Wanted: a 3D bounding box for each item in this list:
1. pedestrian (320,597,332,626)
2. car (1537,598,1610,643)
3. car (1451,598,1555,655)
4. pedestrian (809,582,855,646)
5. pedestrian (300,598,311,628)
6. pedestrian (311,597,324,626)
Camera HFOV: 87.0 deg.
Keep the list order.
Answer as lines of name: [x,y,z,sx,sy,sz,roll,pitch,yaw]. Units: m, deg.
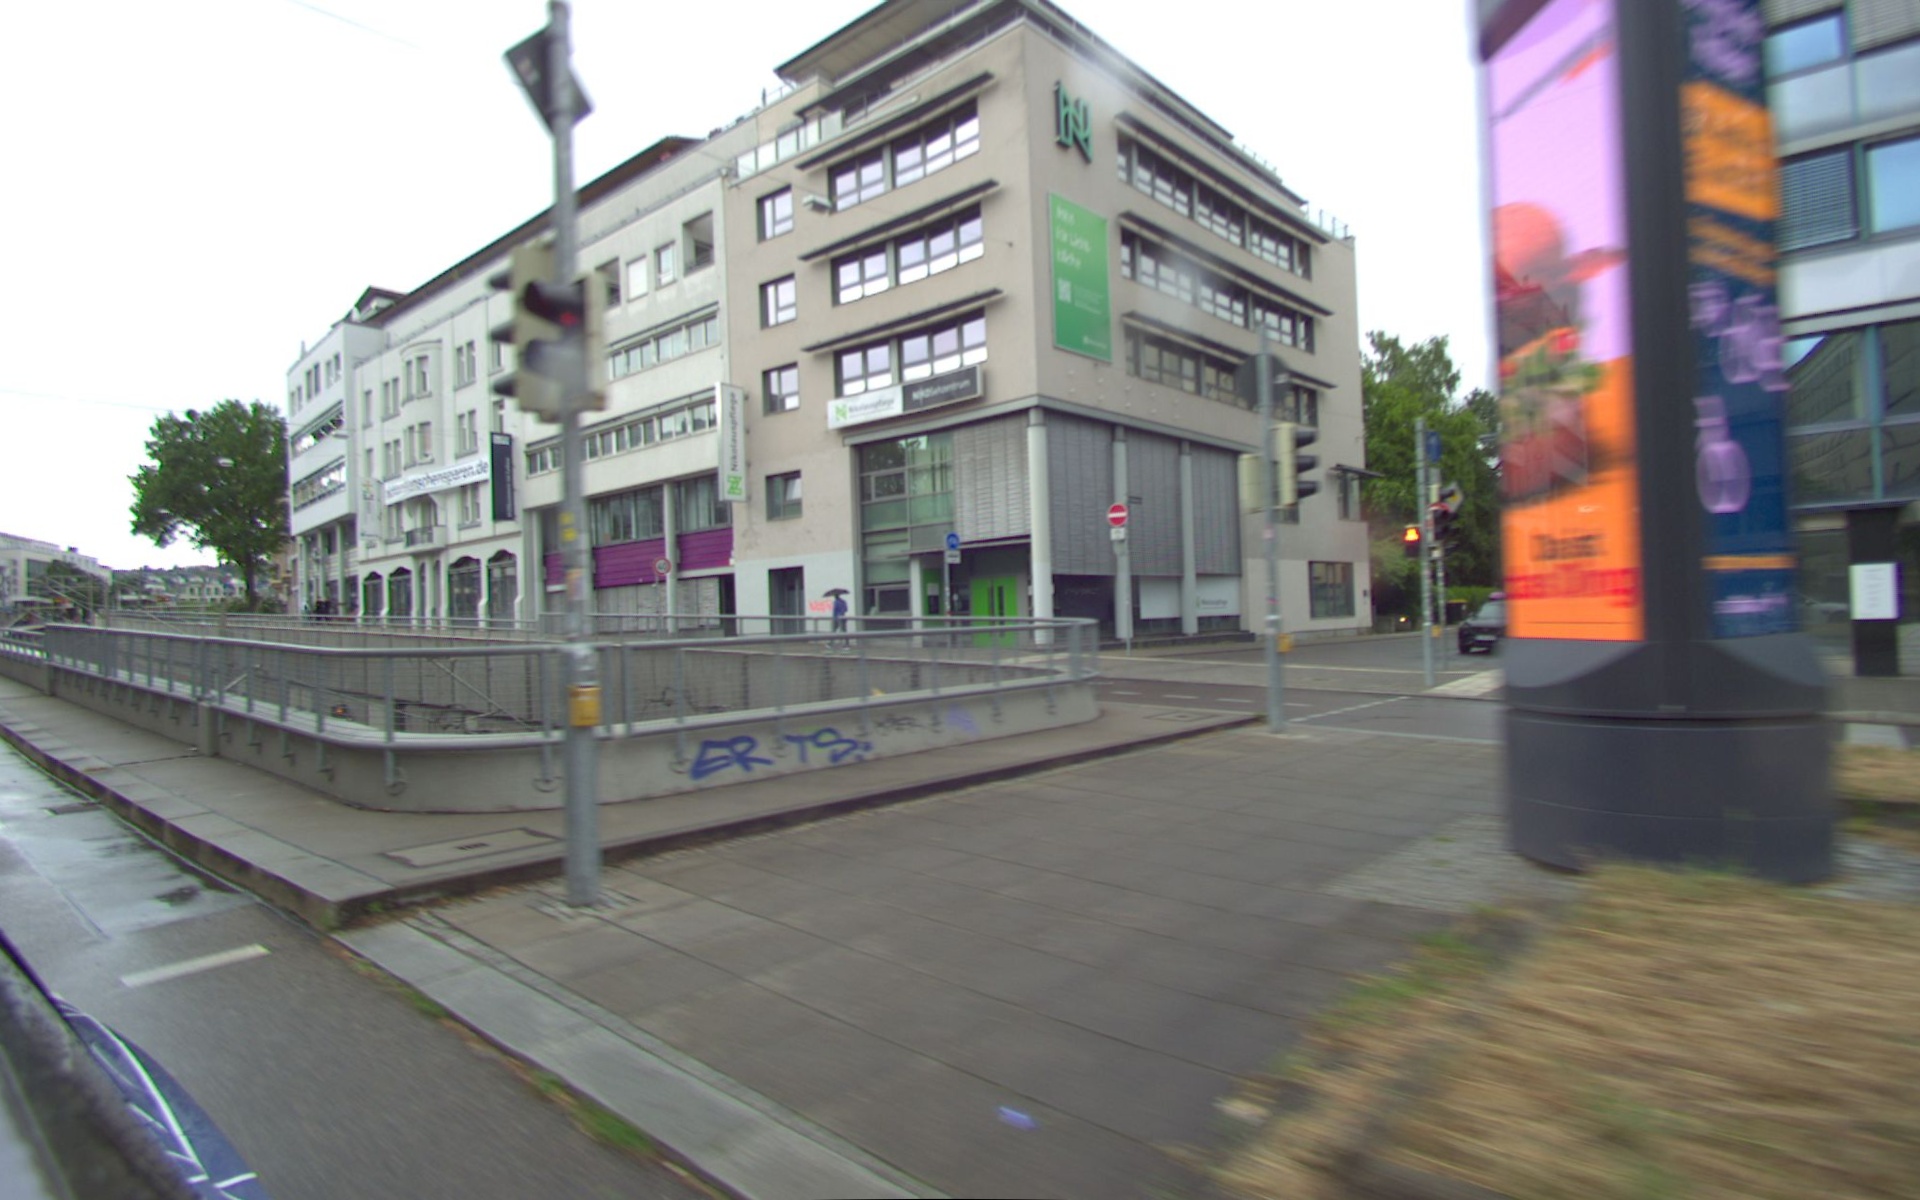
pedestrian: [-39.046,0.708,62.367,0.547,1.816,0.463,-1,1,43]
car: [22.819,0.731,37.606,1.796,1.569,3.947,-1,-1,39]
car: [16.150,0.755,30.001,1.998,1.569,3.947,-1,-1,39]
pedestrian: [-3.853,0.411,30.448,1.059,1.852,0.848,-1,1,41]
pedestrian: [-40.352,0.799,62.416,0.463,1.816,0.548,-2,1,-42]
pedestrian: [-40.065,0.708,63.114,0.469,1.816,0.541,-1,1,33]
